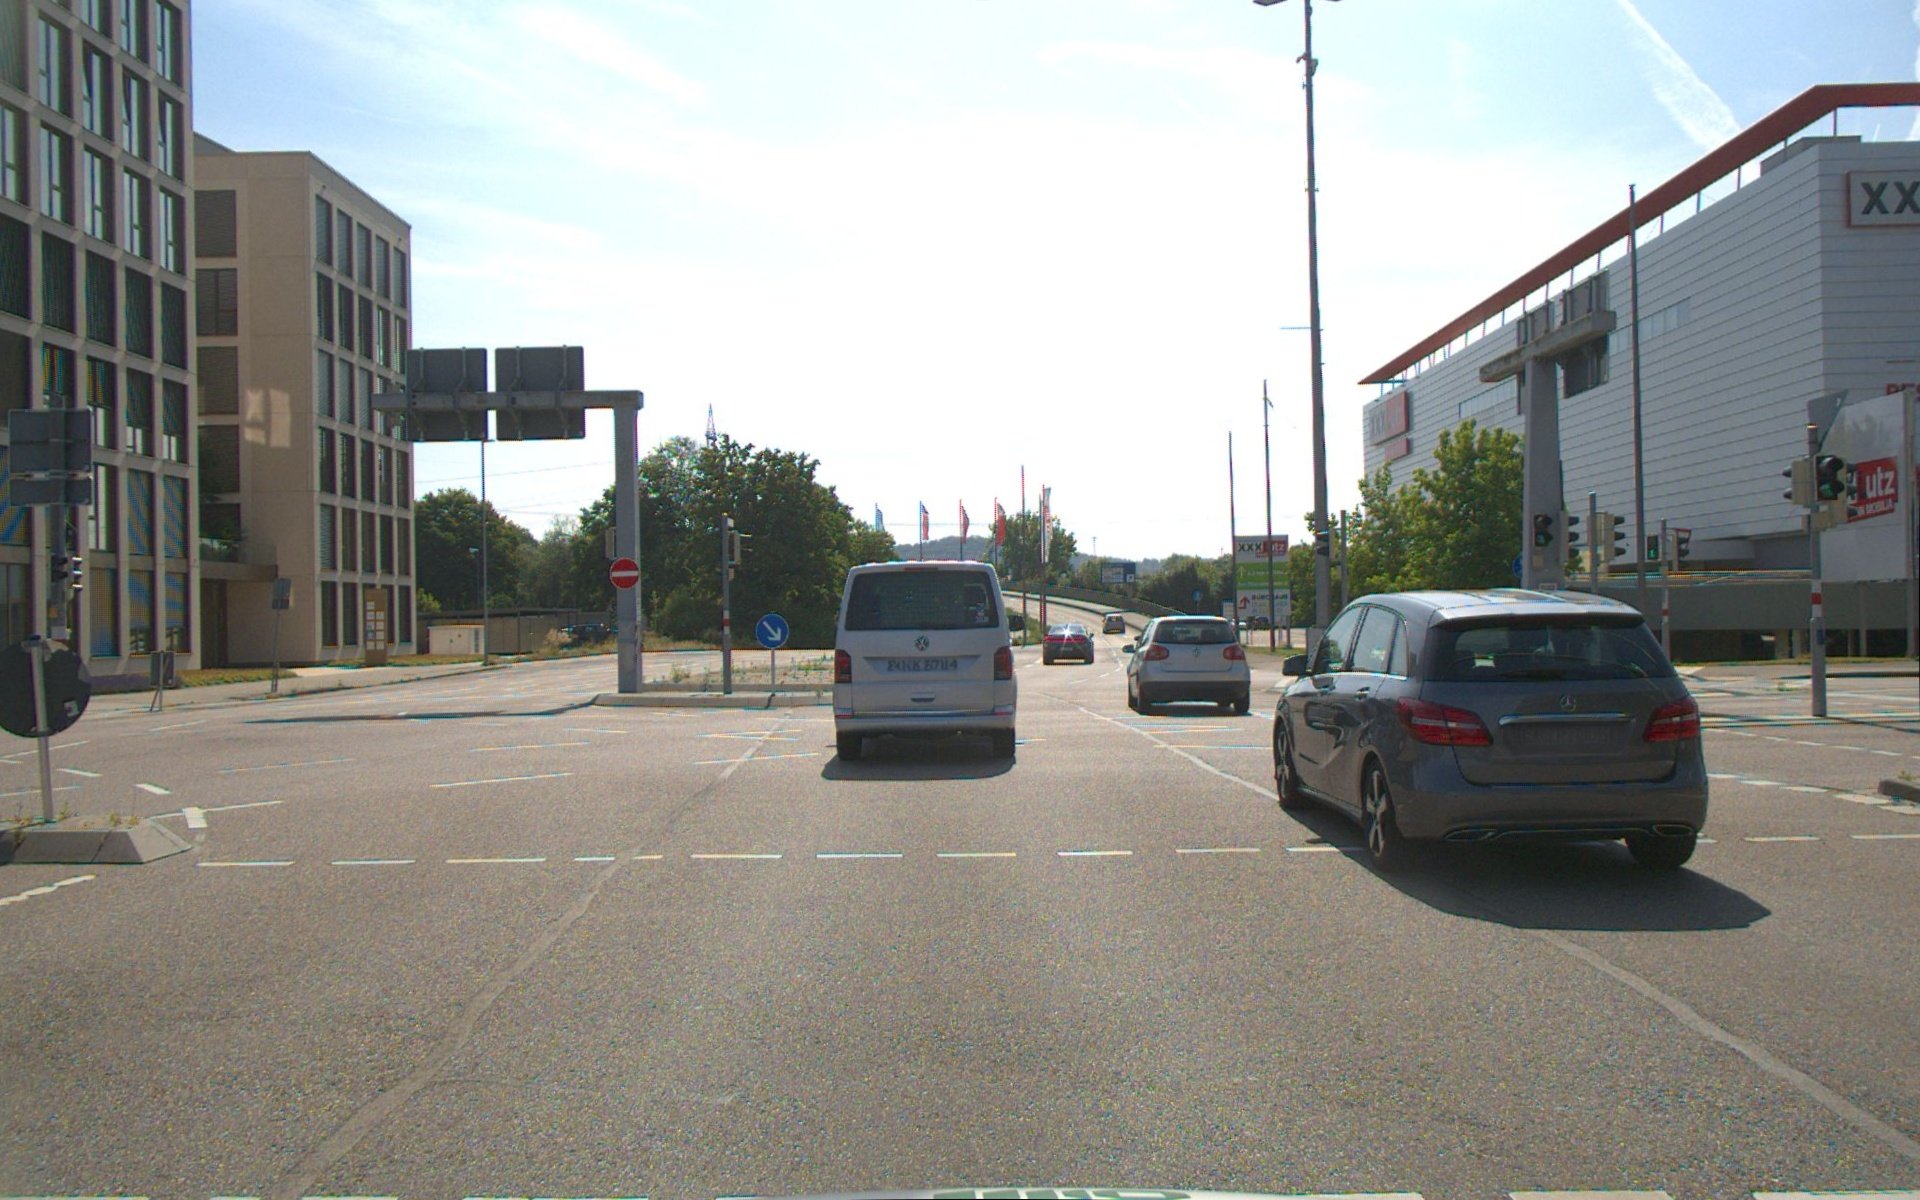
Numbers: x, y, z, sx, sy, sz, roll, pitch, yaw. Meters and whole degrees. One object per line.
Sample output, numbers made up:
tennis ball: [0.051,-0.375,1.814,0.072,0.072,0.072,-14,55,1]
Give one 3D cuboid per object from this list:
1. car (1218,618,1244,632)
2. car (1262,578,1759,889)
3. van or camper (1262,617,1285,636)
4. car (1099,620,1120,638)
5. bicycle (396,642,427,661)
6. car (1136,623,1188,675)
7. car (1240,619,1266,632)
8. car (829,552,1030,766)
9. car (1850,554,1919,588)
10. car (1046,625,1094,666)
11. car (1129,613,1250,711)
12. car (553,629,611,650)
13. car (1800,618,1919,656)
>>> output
car: [32.449,3.012,198.228,1.849,1.546,3.991,2,-2,-9]
car: [3.171,0.690,10.459,1.737,1.566,4.137,0,0,0]
van or camper: [38.520,3.317,203.271,2.055,2.217,5.439,1,-2,2]
car: [12.156,2.363,134.574,1.499,1.506,3.426,0,-1,2]
bicycle: [-33.285,3.120,100.417,1.667,1.110,0.588,-1,-1,1]
car: [6.048,1.436,49.659,1.498,1.506,3.598,0,-1,6]
car: [35.112,3.093,198.287,1.957,1.445,3.991,2,-2,-9]
car: [-0.310,0.577,17.782,1.878,2.010,4.296,0,-1,-1]
car: [42.402,-1.301,75.151,1.734,1.444,4.201,-1,-1,2]
car: [4.206,1.692,62.835,1.498,1.506,3.249,0,-1,10]
car: [3.581,0.985,26.318,1.632,1.439,3.683,-1,-2,4]
car: [-27.987,2.894,122.462,4.038,1.445,1.718,0,-2,-20]
car: [37.092,1.525,68.182,4.031,1.550,1.798,0,-1,-5]
